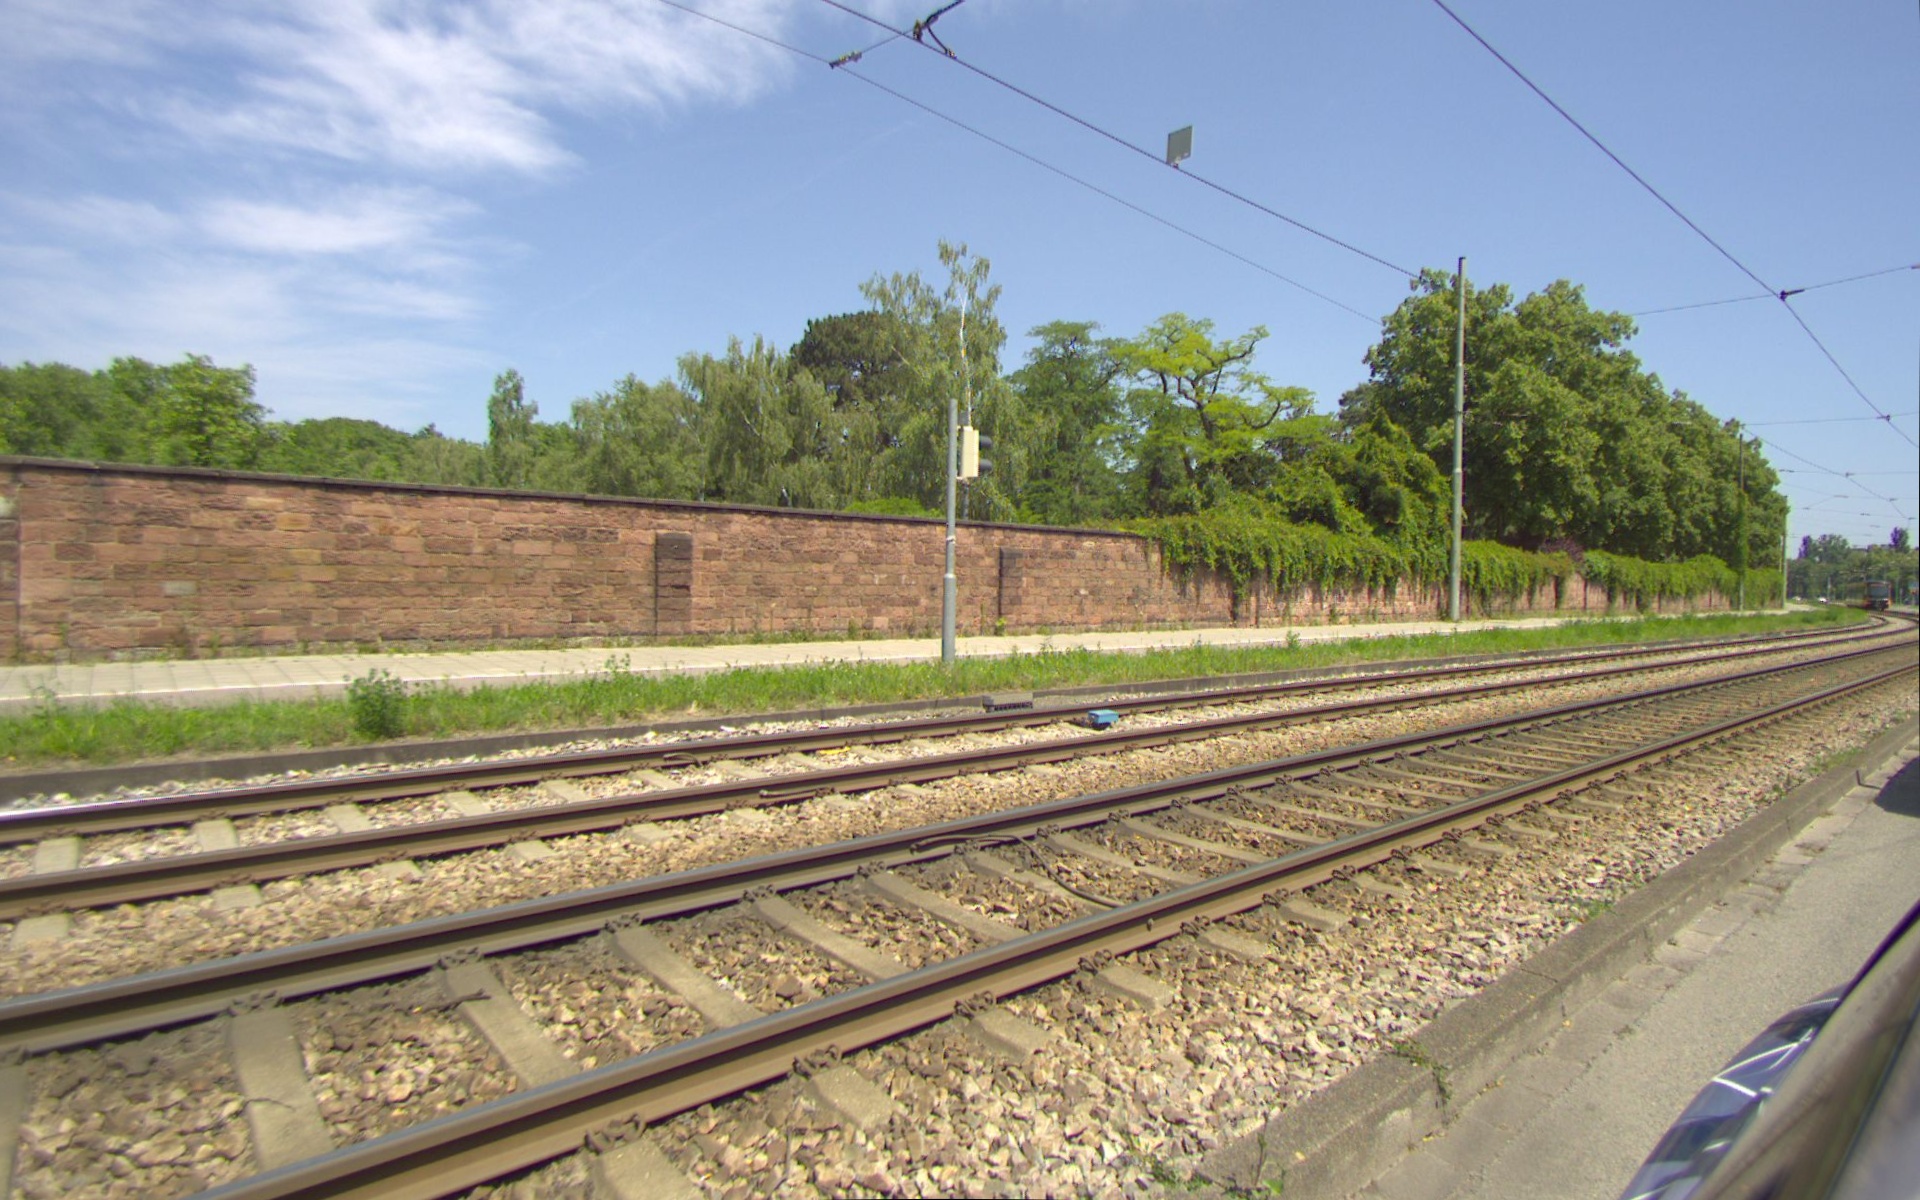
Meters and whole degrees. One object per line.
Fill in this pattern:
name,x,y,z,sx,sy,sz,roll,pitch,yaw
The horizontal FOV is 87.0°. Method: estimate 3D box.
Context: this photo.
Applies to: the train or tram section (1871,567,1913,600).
train or tram section,115.595,-2.057,125.398,14.023,3.854,2.809,-1,1,-43
